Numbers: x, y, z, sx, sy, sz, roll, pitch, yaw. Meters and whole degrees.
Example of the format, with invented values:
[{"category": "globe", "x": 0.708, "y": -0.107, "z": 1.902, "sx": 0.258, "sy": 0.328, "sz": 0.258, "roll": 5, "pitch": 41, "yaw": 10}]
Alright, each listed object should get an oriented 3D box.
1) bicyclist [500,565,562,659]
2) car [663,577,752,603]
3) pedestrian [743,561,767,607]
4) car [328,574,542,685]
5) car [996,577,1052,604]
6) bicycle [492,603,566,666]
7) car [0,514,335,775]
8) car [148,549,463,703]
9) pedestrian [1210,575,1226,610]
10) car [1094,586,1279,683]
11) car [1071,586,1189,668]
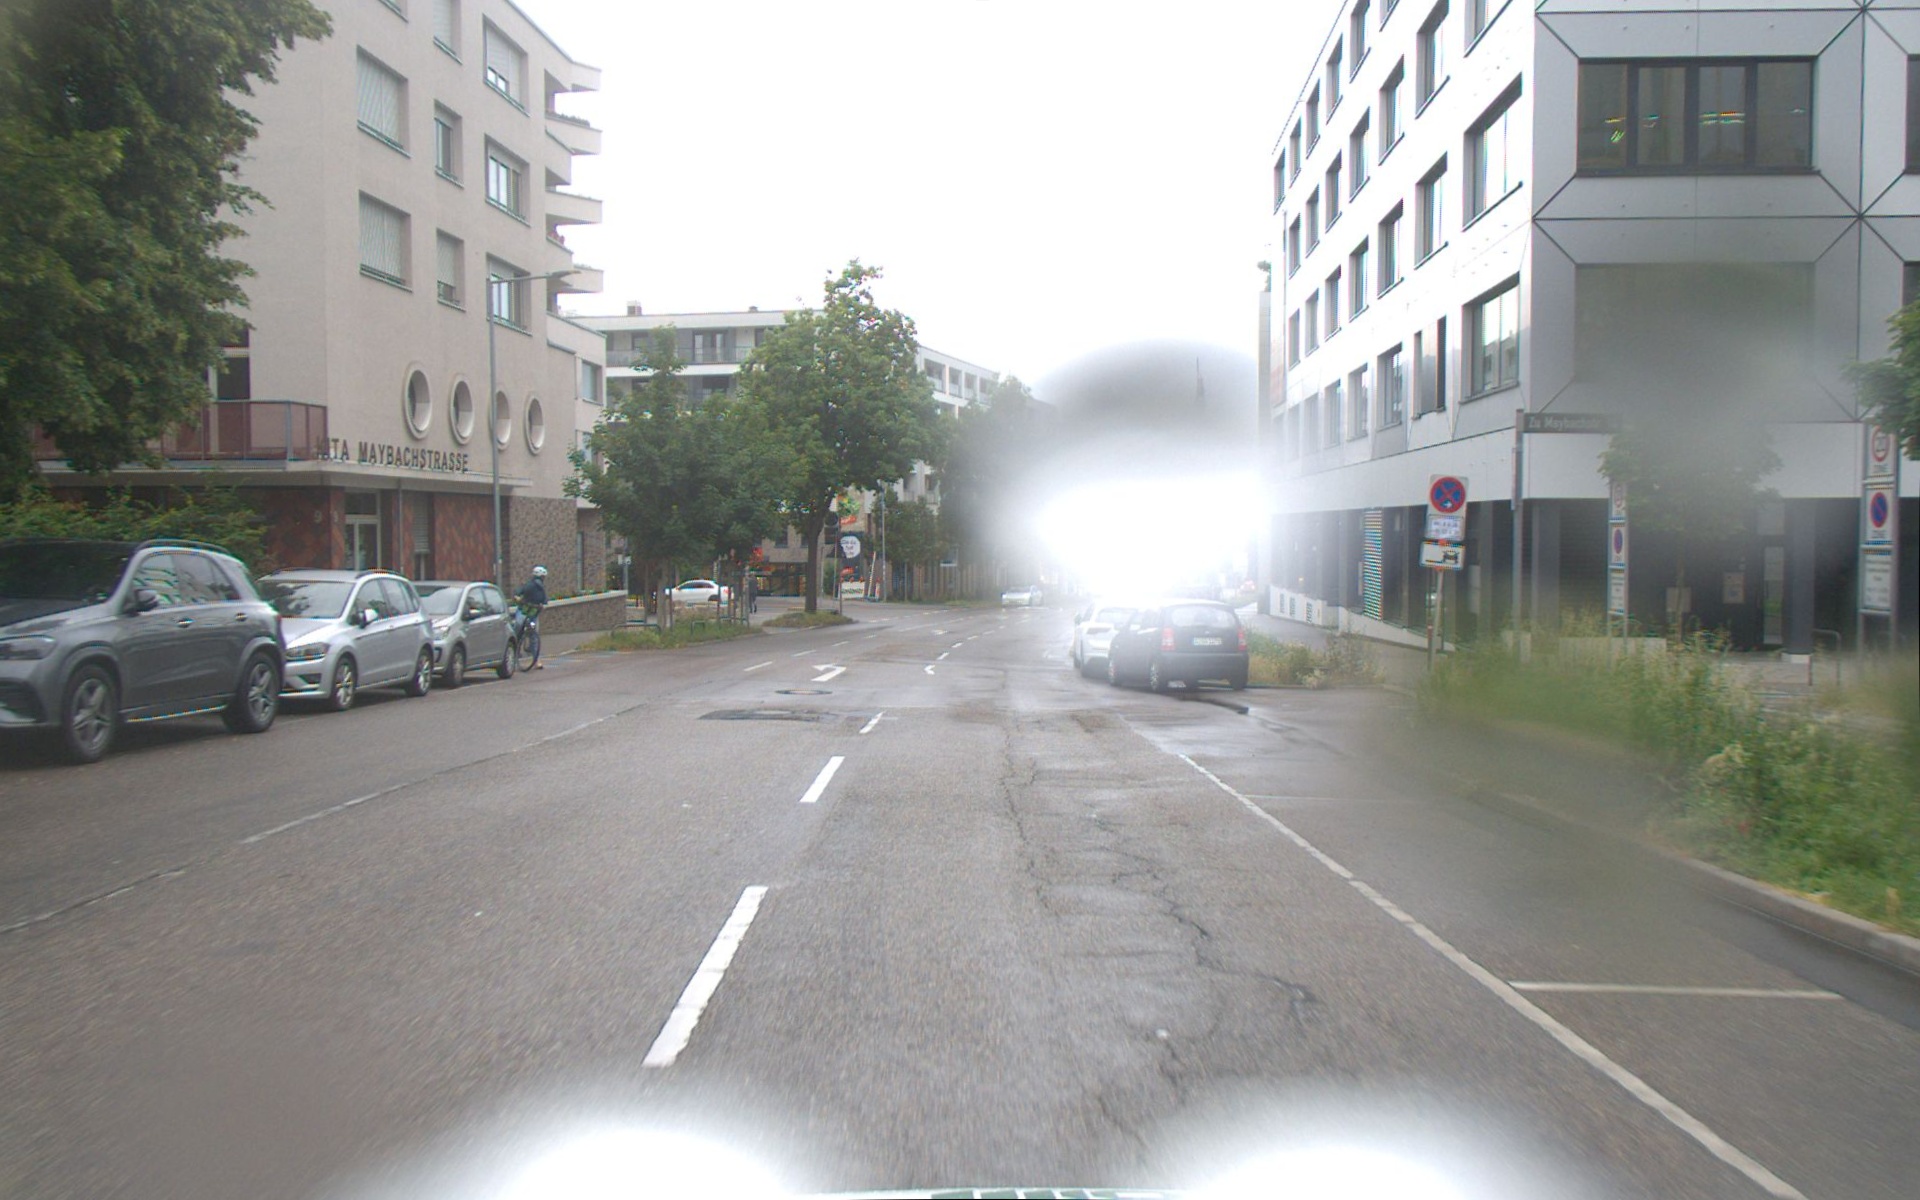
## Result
[{"category": "bicyclist", "x": -7.324, "y": 0.195, "z": 28.268, "sx": 0.785, "sy": 1.549, "sz": 1.201, "roll": 1, "pitch": 0, "yaw": -4}, {"category": "car", "x": -13.773, "y": -0.527, "z": 90.521, "sx": 4.594, "sy": 1.315, "sz": 1.999, "roll": 1, "pitch": 0, "yaw": -4}, {"category": "pedestrian", "x": -9.332, "y": -0.741, "z": 75.396, "sx": 1.035, "sy": 2.049, "sz": 1.098, "roll": 1, "pitch": 0, "yaw": -6}, {"category": "car", "x": -7.697, "y": 0.398, "z": 24.650, "sx": 1.840, "sy": 1.488, "sz": 3.848, "roll": 1, "pitch": 0, "yaw": 2}, {"category": "car", "x": 4.141, "y": -0.613, "z": 106.060, "sx": 2.015, "sy": 1.690, "sz": 4.820, "roll": 1, "pitch": 1, "yaw": 23}, {"category": "bicycle", "x": -7.317, "y": 0.573, "z": 28.200, "sx": 0.786, "sy": 0.996, "sz": 2.253, "roll": 1, "pitch": 0, "yaw": -4}, {"category": "car", "x": -7.486, "y": 0.284, "z": 14.268, "sx": 1.952, "sy": 1.817, "sz": 5.412, "roll": 1, "pitch": 0, "yaw": 2}, {"category": "car", "x": -7.752, "y": 0.275, "z": 20.127, "sx": 1.948, "sy": 1.621, "sz": 4.490, "roll": 1, "pitch": 0, "yaw": 1}, {"category": "pedestrian", "x": 13.875, "y": -0.405, "z": 88.917, "sx": 0.805, "sy": 1.827, "sz": 1.209, "roll": 0, "pitch": 0, "yaw": 9}, {"category": "car", "x": 3.789, "y": 0.534, "z": 28.431, "sx": 2.007, "sy": 1.483, "sz": 4.046, "roll": 1, "pitch": 1, "yaw": -10}, {"category": "car", "x": 3.339, "y": 0.486, "z": 33.338, "sx": 1.997, "sy": 1.490, "sz": 4.503, "roll": 1, "pitch": 1, "yaw": 1}]
